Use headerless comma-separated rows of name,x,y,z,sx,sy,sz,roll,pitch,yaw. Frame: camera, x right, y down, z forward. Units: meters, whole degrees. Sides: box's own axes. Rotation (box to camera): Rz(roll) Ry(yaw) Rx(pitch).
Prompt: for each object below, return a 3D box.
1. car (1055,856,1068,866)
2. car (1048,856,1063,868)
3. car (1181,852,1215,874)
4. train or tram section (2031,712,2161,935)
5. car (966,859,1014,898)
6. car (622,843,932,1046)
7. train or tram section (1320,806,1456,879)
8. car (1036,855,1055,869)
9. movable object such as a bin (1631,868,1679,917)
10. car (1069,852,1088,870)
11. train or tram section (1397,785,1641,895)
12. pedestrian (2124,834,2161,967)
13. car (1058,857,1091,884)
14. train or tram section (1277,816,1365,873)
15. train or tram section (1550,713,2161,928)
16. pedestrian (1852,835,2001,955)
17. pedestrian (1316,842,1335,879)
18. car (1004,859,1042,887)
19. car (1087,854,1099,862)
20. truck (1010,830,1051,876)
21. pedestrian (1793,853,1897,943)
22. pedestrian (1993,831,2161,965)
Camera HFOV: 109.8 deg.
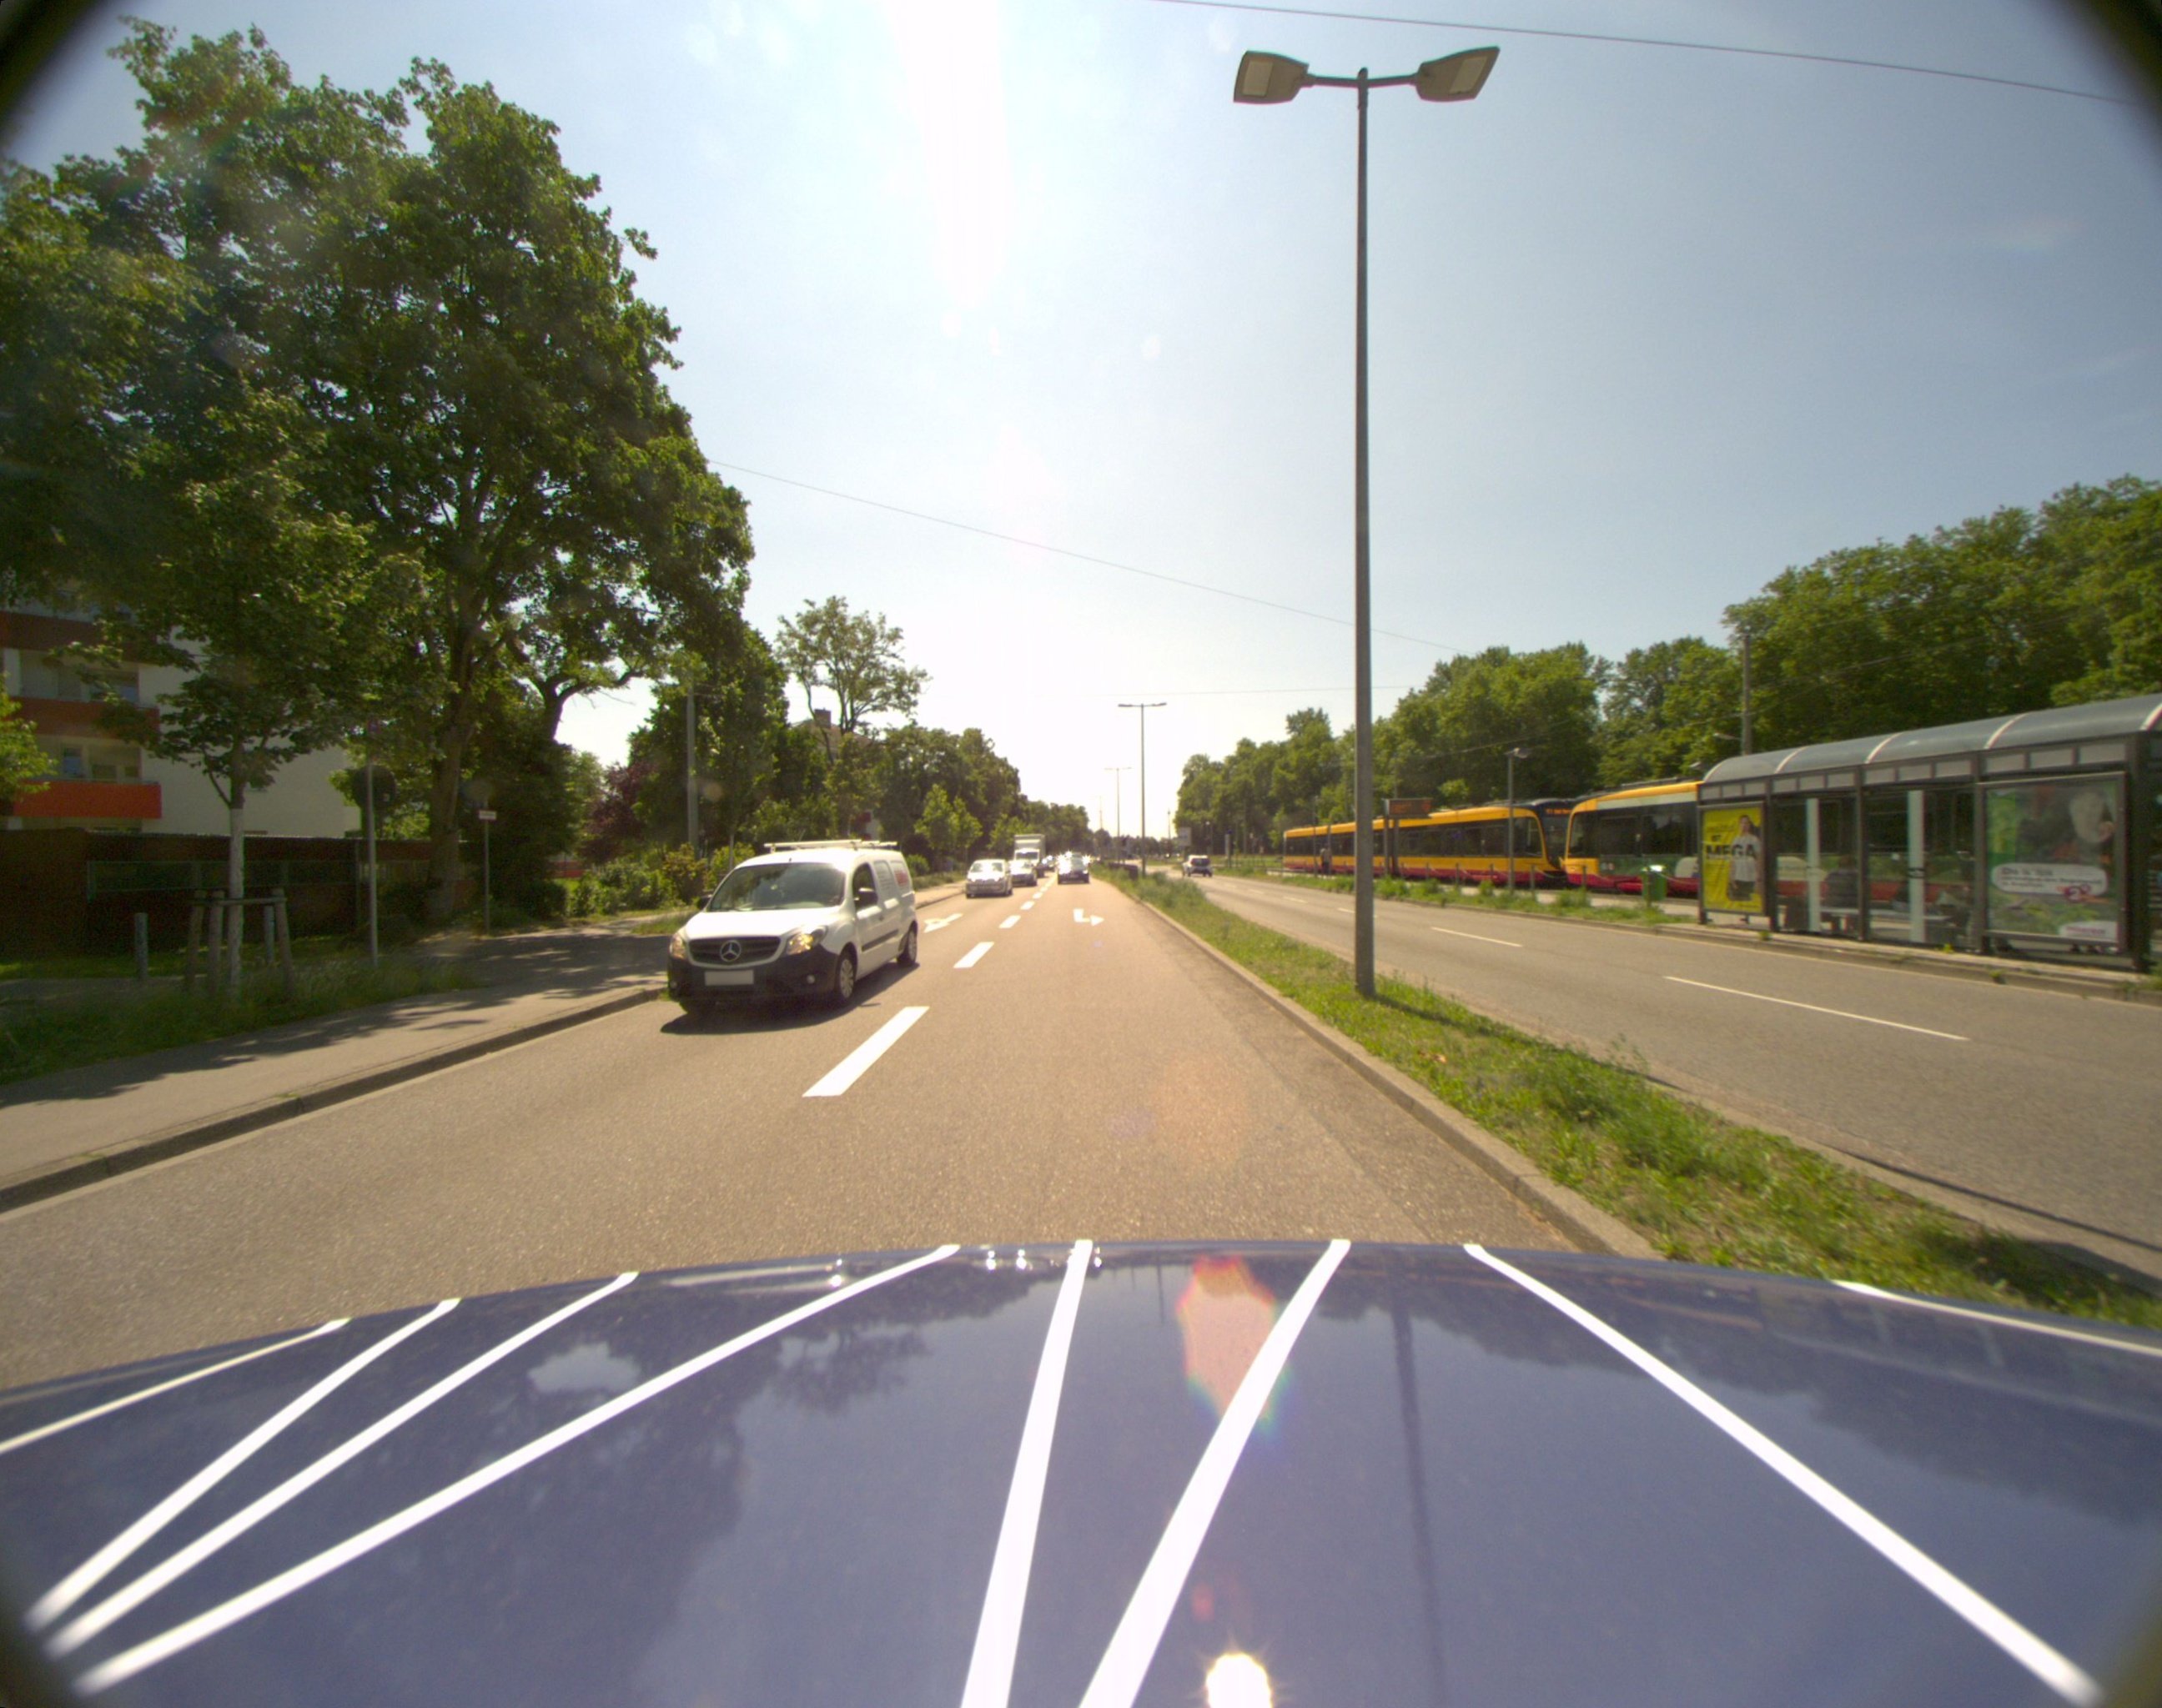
car,-2.953,1.041,113.858,1.746,1.382,3.887,-1,0,1
car,-3.212,0.952,96.400,1.618,1.373,4.114,-2,0,1
car,8.358,0.622,54.591,1.774,1.496,3.719,-1,0,-2
train or tram section,20.213,-0.596,8.046,3.055,3.603,12.435,-3,0,-16
car,-3.689,0.967,31.271,1.626,1.433,3.498,-2,0,-2
car,-3.382,0.855,9.741,1.809,1.845,5.082,-2,0,0
train or tram section,18.215,-0.601,46.458,3.051,3.719,12.594,-3,0,0
car,-3.724,0.841,79.855,1.746,1.382,3.887,-1,0,1
movable object such as a bin,11.806,0.777,15.634,0.483,0.972,0.645,-1,1,-4
car,-0.235,0.690,77.914,1.746,1.840,3.887,-1,0,1
train or tram section,18.285,-0.502,33.569,3.051,3.745,13.261,-2,0,0
pedestrian,12.682,0.516,8.483,0.837,1.499,0.879,-3,1,-2
car,-0.314,0.890,43.311,1.746,1.382,3.887,-1,0,1
train or tram section,18.171,-0.669,58.546,2.957,3.833,11.539,-3,0,0
train or tram section,18.363,-0.612,19.933,3.052,3.603,13.894,-3,0,-2
pedestrian,11.604,0.535,10.473,0.876,1.537,1.026,-3,1,-2
pedestrian,12.139,0.330,37.755,0.633,1.781,0.776,-3,1,-2
car,-3.100,0.998,41.254,1.618,1.373,4.114,-2,0,1
car,2.118,0.659,131.402,1.745,1.382,3.889,-1,0,6
truck,-3.821,-0.087,58.938,2.490,3.277,6.605,-1,0,2
pedestrian,11.568,0.642,11.529,0.703,1.276,0.840,-3,1,-2
pedestrian,12.386,0.520,9.430,0.933,1.537,0.985,-3,1,-2
